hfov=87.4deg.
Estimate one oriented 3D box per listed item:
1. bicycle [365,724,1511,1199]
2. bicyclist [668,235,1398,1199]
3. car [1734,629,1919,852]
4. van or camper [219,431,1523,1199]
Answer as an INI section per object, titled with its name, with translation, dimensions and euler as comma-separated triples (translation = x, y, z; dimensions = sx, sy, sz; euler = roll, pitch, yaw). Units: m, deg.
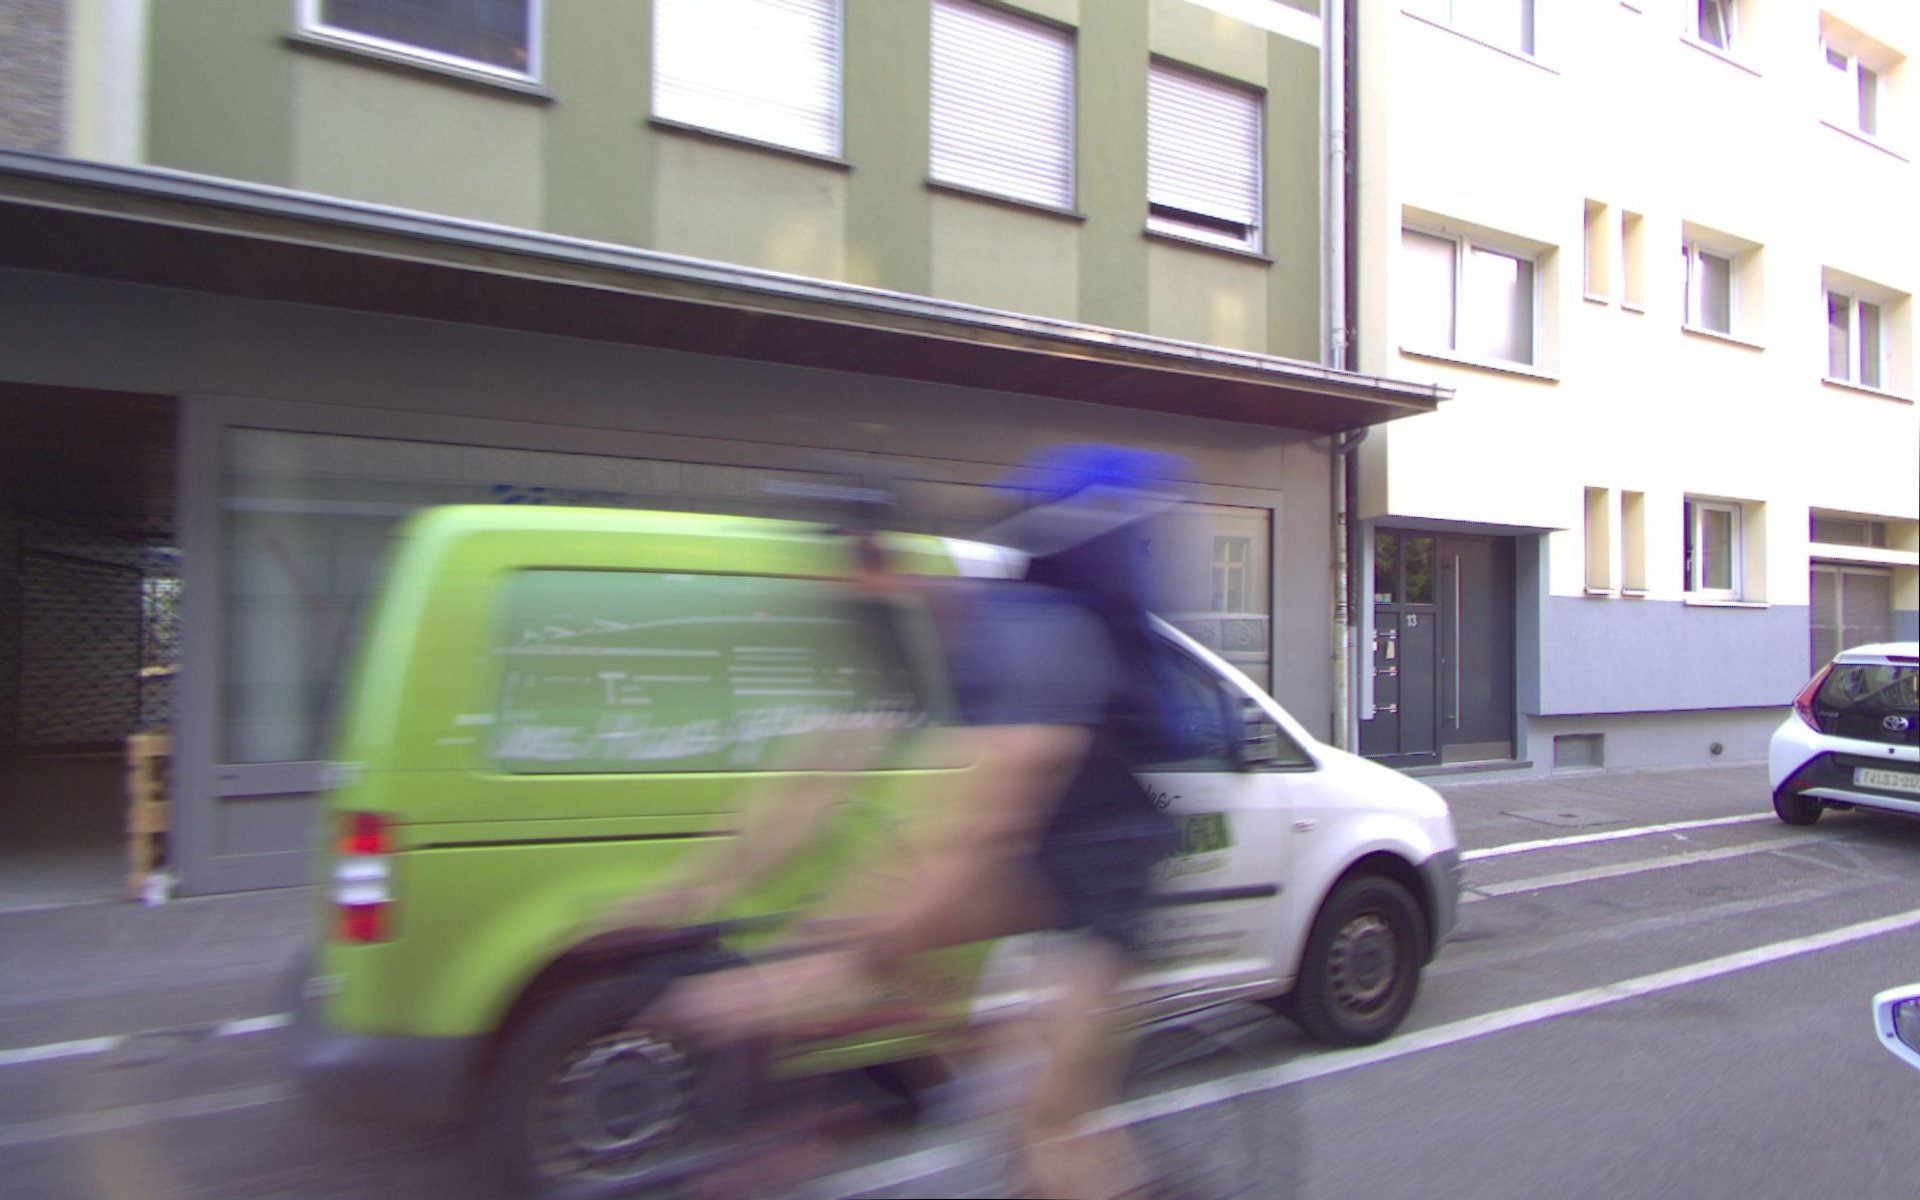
[bicycle]
translation = 0.055, 0.734, 1.677
dimensions = 1.756, 0.934, 0.632
euler = 1, -1, -26
[bicyclist]
translation = 0.112, 0.410, 1.708
dimensions = 1.067, 1.661, 0.621
euler = 1, -1, -26
[car]
translation = 8.024, 1.025, 7.935
dimensions = 3.475, 1.468, 1.656
euler = 1, 1, -27
[van or camper]
translation = -0.051, 0.644, 3.807
dimensions = 4.122, 1.872, 1.767
euler = 1, -2, -26
